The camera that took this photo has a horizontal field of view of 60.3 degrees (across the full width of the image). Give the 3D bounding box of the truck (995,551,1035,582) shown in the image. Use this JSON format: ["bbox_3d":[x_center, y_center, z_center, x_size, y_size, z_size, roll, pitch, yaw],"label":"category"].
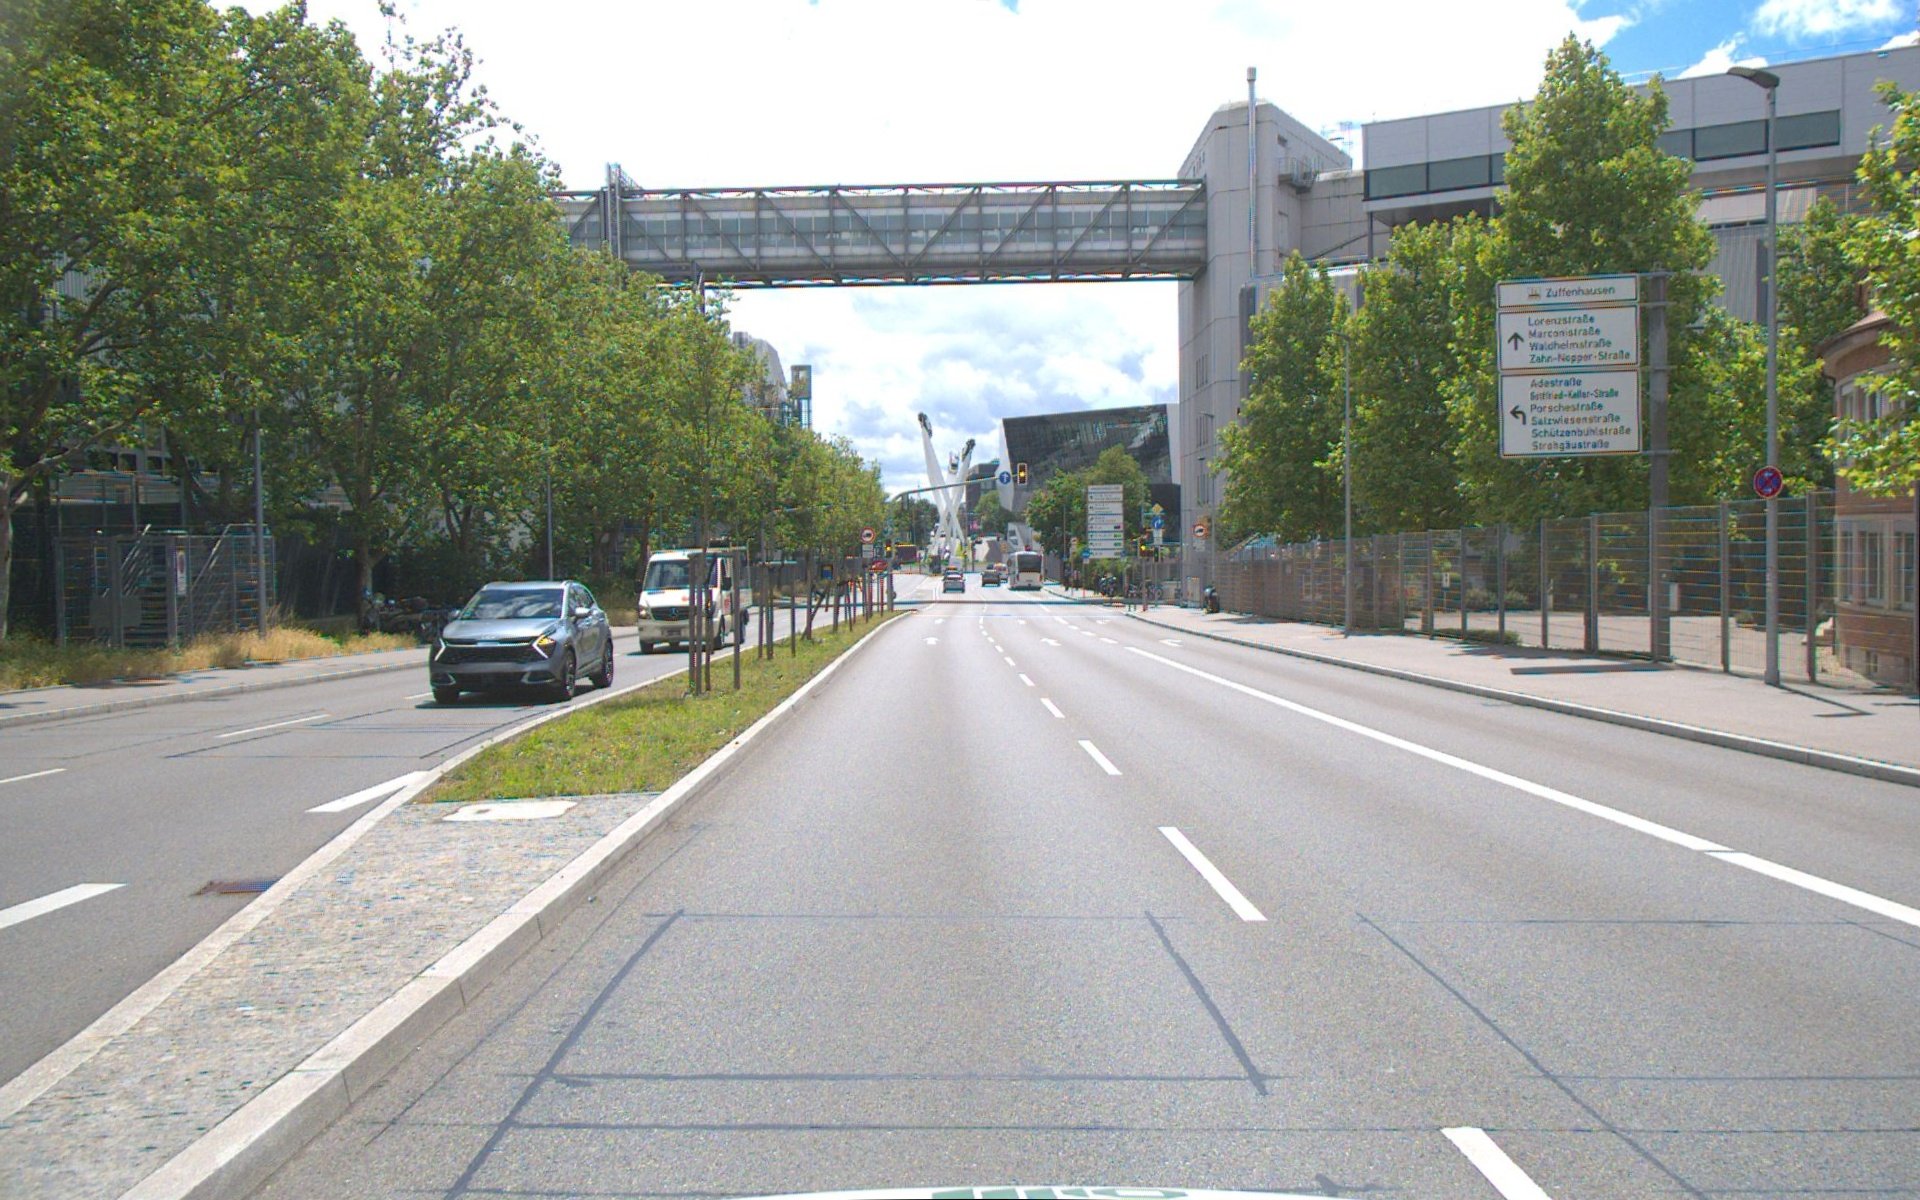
[{"bbox_3d":[7.998,-4.798,239.081,3.380,4.468,9.425,0,1,18],"label":"truck"}]

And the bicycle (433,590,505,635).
[{"bbox_3d":[-14.442,0.369,48.709,1.879,1.305,0.806,0,0,-2],"label":"bicycle"}]

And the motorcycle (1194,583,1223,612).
[{"bbox_3d":[10.298,-0.105,68.544,0.679,1.178,2.146,-2,1,-4],"label":"motorcycle"}]

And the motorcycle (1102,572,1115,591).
[{"bbox_3d":[10.063,-1.259,112.351,0.692,1.224,2.024,-2,1,1],"label":"motorcycle"}]

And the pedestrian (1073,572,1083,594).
[{"bbox_3d":[9.771,-1.414,136.672,0.623,1.772,0.821,0,0,-9],"label":"pedestrian"}]

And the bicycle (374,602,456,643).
[{"bbox_3d":[-14.735,0.600,44.733,2.039,1.081,0.497,0,0,-2],"label":"bicycle"}]

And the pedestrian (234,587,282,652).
[{"bbox_3d":[-17.034,0.463,40.143,0.738,1.579,0.821,0,0,9],"label":"pedestrian"}]

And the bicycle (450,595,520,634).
[{"bbox_3d":[-14.285,0.429,49.730,1.879,1.142,0.806,0,0,-2],"label":"bicycle"}]

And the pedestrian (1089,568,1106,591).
[{"bbox_3d":[10.051,-1.470,120.778,0.835,1.653,0.951,0,1,42],"label":"pedestrian"}]

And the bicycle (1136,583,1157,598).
[{"bbox_3d":[11.980,-0.646,106.370,0.392,0.953,1.913,0,1,-25],"label":"bicycle"}]

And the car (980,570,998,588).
[{"bbox_3d":[2.843,-2.056,161.493,1.702,1.772,3.692,0,1,1],"label":"car"}]

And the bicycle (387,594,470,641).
[{"bbox_3d":[-14.952,0.499,46.579,2.091,1.305,0.806,0,0,-2],"label":"bicycle"}]

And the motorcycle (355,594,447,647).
[{"bbox_3d":[-14.289,0.511,42.308,2.091,1.332,0.806,0,0,-2],"label":"motorcycle"}]

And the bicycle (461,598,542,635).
[{"bbox_3d":[-15.071,0.526,54.401,2.510,1.177,0.726,0,0,9],"label":"bicycle"}]

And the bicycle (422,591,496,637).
[{"bbox_3d":[-14.400,0.398,47.535,1.879,1.305,0.806,0,0,-2],"label":"bicycle"}]

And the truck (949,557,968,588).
[{"bbox_3d":[-0.193,-3.546,214.326,2.343,3.965,6.178,0,1,1],"label":"truck"}]

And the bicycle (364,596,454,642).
[{"bbox_3d":[-14.469,0.501,43.478,2.091,1.201,0.806,0,0,-2],"label":"bicycle"}]

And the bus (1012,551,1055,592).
[{"bbox_3d":[6.599,-2.572,150.434,3.382,3.605,10.605,0,1,0],"label":"bus"}]

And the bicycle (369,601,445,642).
[{"bbox_3d":[-14.785,0.564,44.263,1.885,1.093,0.422,0,0,-2],"label":"bicycle"}]

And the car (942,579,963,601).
[{"bbox_3d":[-0.590,-0.822,136.602,1.702,1.772,3.692,0,1,1],"label":"car"}]

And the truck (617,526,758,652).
[{"bbox_3d":[-6.555,-0.282,40.621,2.428,2.799,6.457,-1,1,-1],"label":"truck"}]

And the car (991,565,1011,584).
[{"bbox_3d":[4.621,-2.911,188.779,1.954,2.049,3.997,1,-1,-3],"label":"car"}]

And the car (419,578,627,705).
[{"bbox_3d":[-6.190,0.526,23.919,1.866,1.659,4.293,0,0,0],"label":"car"}]

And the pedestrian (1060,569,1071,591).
[{"bbox_3d":[8.716,-1.653,136.682,0.803,1.737,0.881,0,0,0],"label":"pedestrian"}]
